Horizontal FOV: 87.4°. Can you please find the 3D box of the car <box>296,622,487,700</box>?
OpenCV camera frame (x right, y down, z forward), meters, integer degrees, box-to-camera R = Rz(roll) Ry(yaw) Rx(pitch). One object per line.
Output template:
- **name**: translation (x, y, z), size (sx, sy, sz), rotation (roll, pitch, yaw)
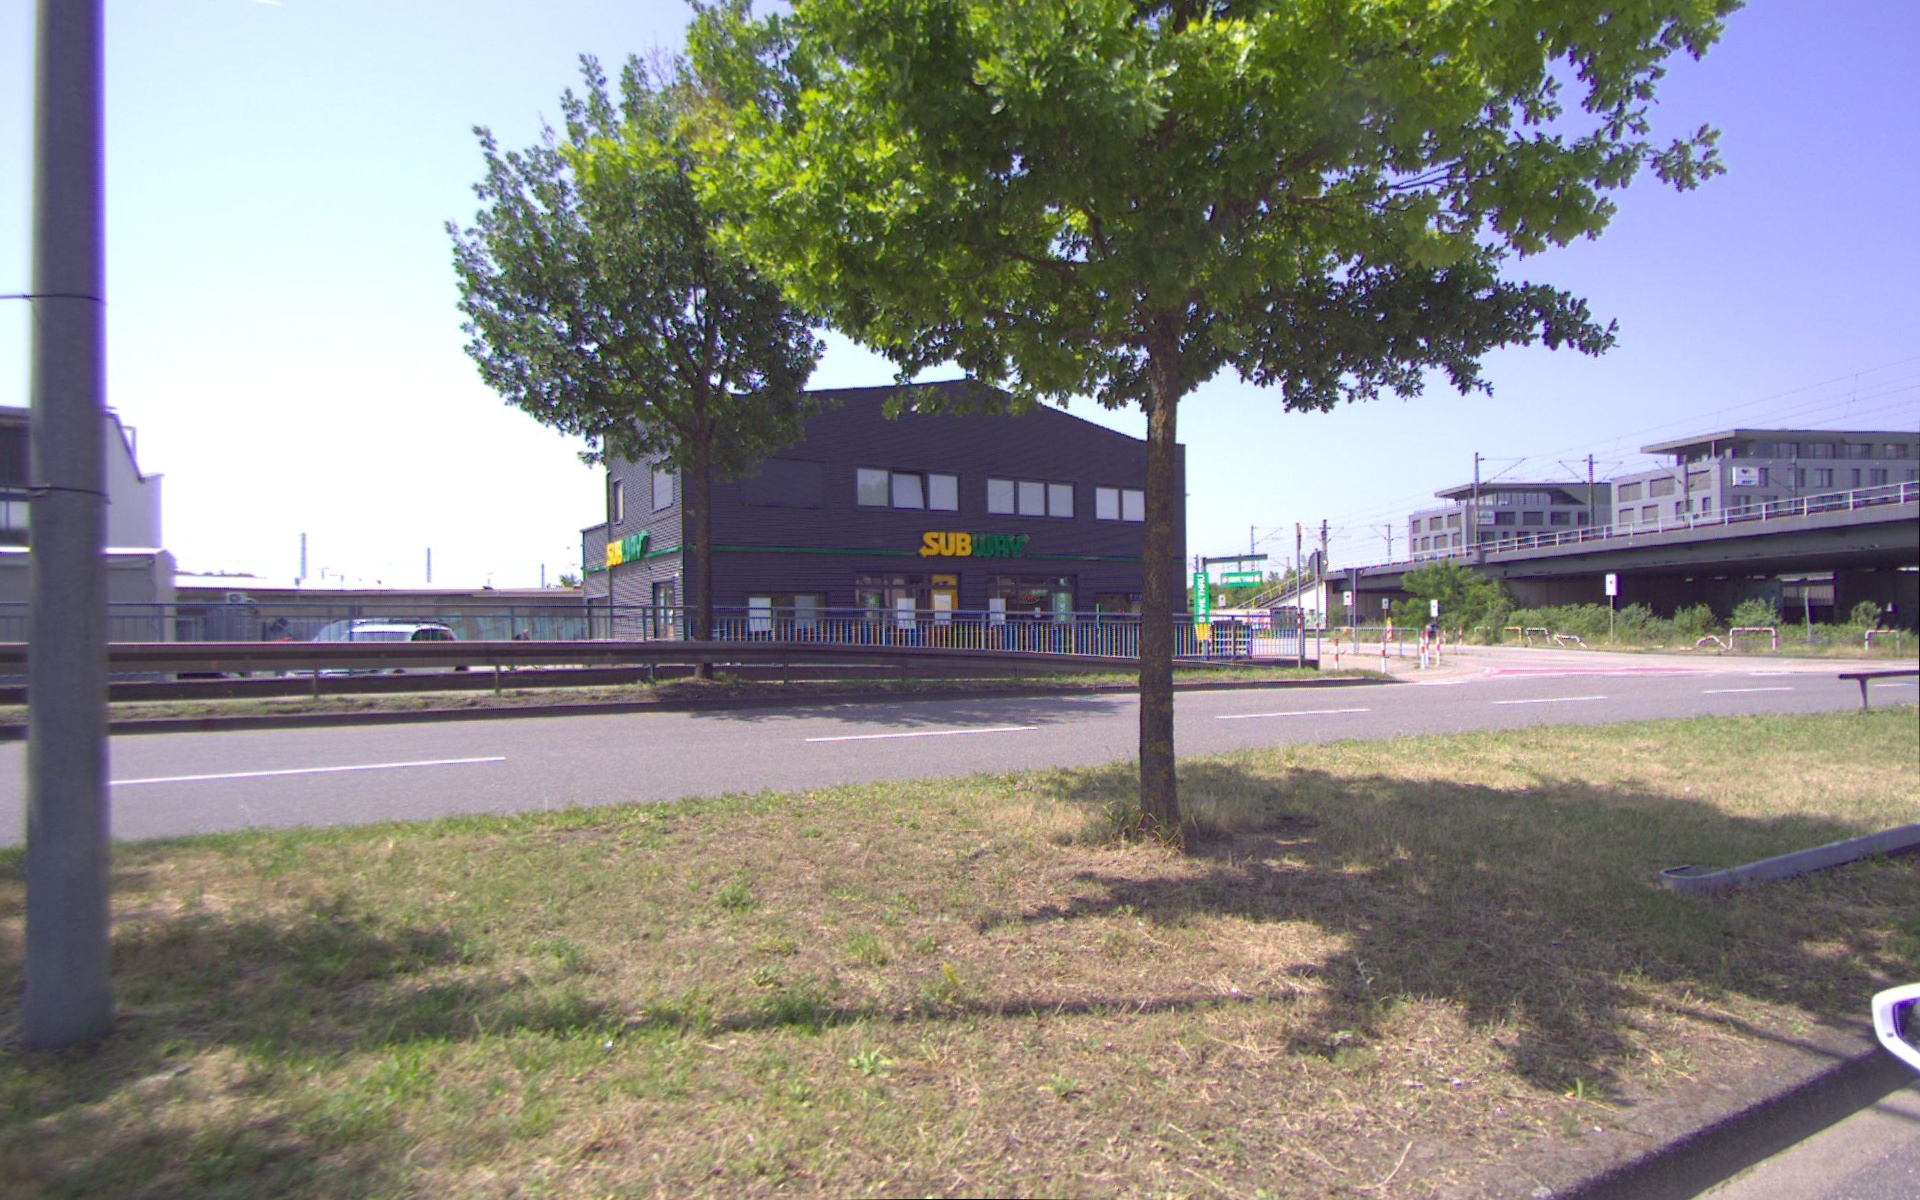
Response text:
- **car**: translation (-11.209, 1.147, 20.152), size (1.627, 1.398, 3.999), rotation (0, -1, -2)
